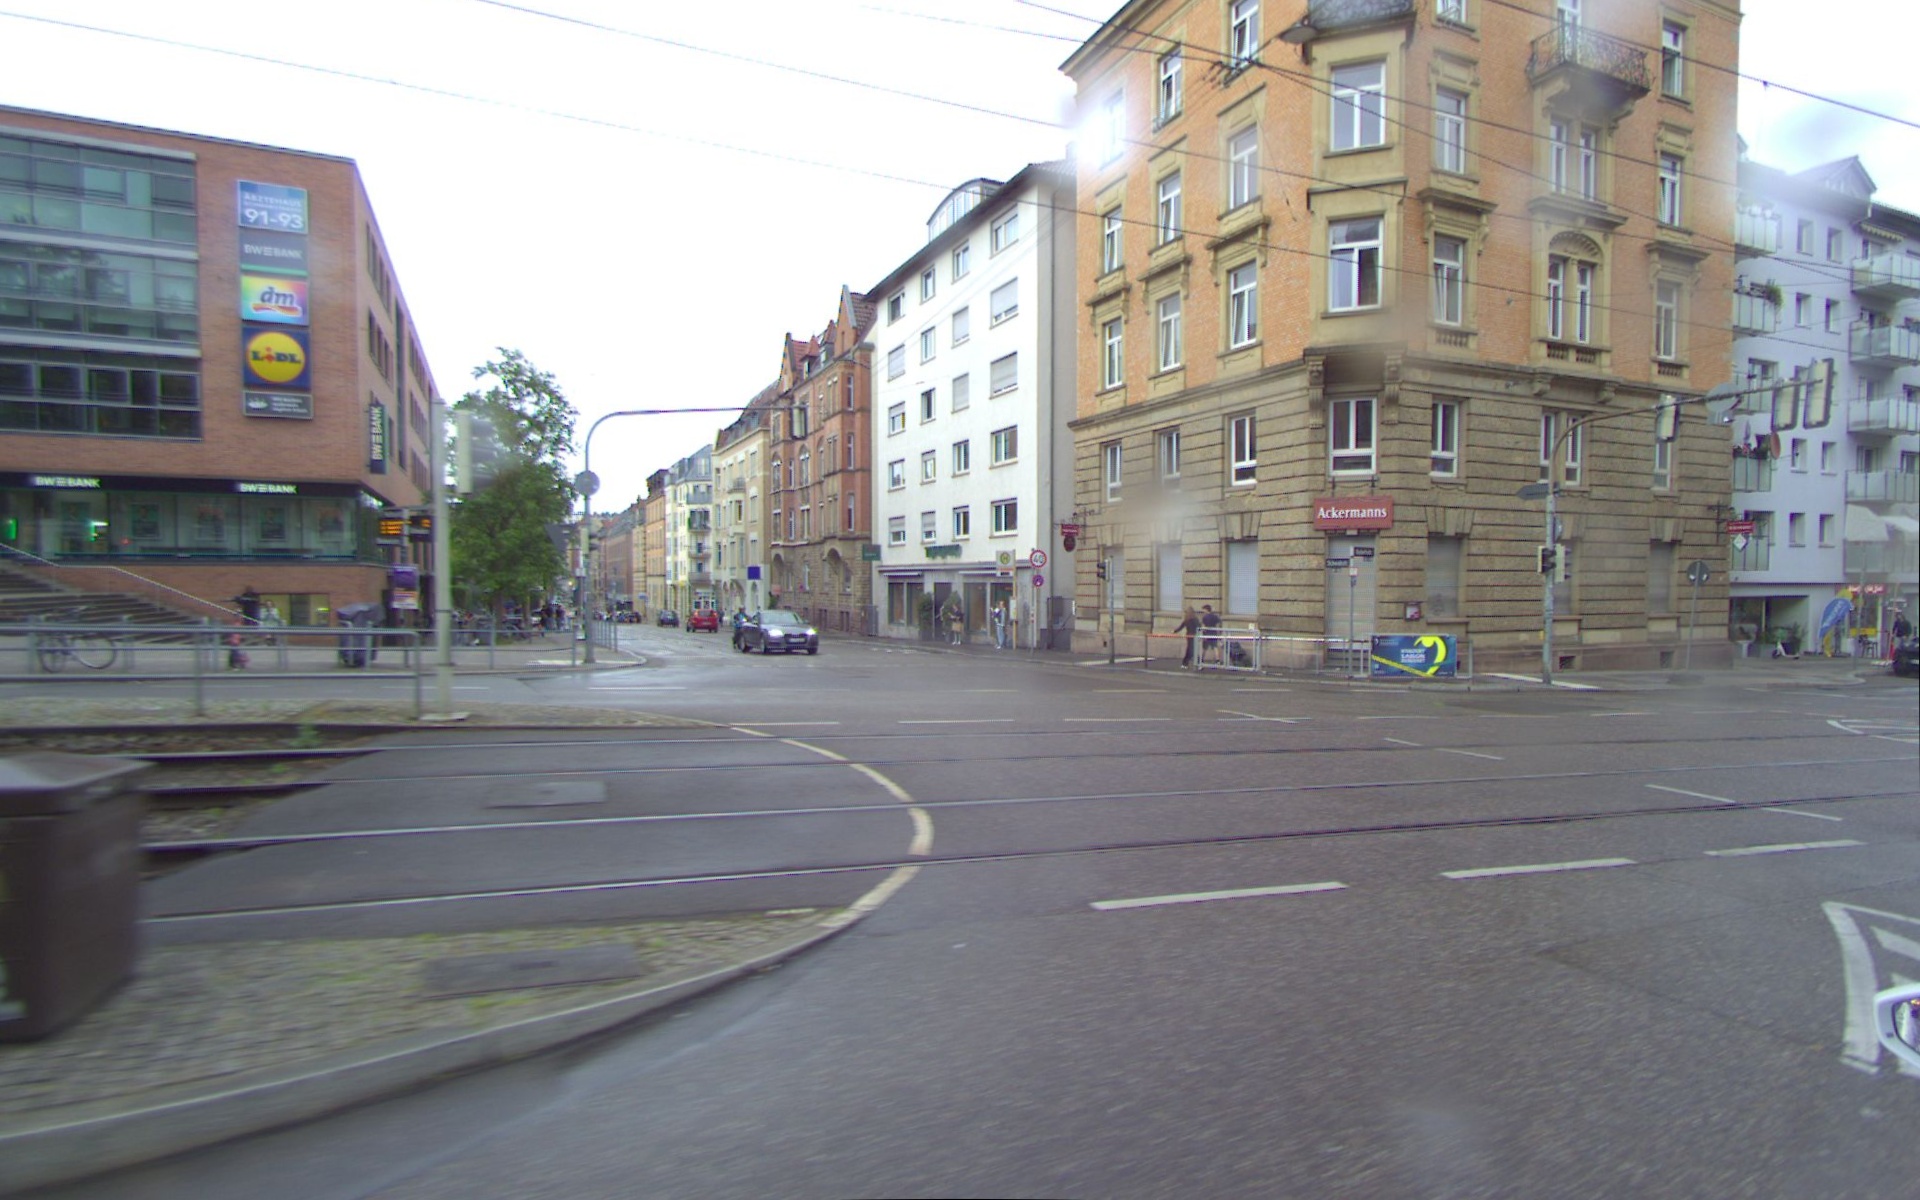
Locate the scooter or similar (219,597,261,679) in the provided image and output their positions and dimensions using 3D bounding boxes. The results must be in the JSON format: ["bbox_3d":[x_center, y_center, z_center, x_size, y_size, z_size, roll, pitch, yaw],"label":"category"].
[{"bbox_3d":[-12.832,0.648,17.896,0.449,1.389,1.488,1,0,-41],"label":"scooter or similar"}]

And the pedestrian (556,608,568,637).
[{"bbox_3d":[-22.897,1.311,57.770,0.591,1.651,0.569,1,0,-26],"label":"pedestrian"}]

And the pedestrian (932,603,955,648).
[{"bbox_3d":[-0.755,1.159,45.653,0.756,2.040,0.862,1,-1,-20],"label":"pedestrian"}]

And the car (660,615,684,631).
[{"bbox_3d":[-26.232,2.088,91.424,1.613,1.309,3.978,1,0,-22],"label":"car"}]

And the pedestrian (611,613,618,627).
[{"bbox_3d":[-47.717,2.781,138.743,0.803,1.861,0.765,1,-1,-26],"label":"pedestrian"}]

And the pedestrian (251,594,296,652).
[{"bbox_3d":[-21.298,0.715,31.186,0.995,1.753,0.893,1,0,-25],"label":"pedestrian"}]

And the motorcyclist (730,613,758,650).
[{"bbox_3d":[-8.075,1.174,37.538,0.830,1.320,0.810,1,0,-24],"label":"motorcyclist"}]

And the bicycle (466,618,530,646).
[{"bbox_3d":[-19.236,1.322,41.866,2.333,1.116,0.848,1,0,-22],"label":"bicycle"}]

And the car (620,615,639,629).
[{"bbox_3d":[-34.422,2.283,104.600,1.613,1.309,3.979,1,0,-22],"label":"car"}]

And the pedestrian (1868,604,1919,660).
[{"bbox_3d":[33.102,1.121,35.548,1.165,1.955,1.165,1,0,-33],"label":"pedestrian"}]

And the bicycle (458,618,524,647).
[{"bbox_3d":[-19.009,1.317,40.707,2.342,1.116,0.693,1,0,-33],"label":"bicycle"}]

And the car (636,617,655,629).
[{"bbox_3d":[-37.457,2.718,119.608,1.615,1.309,3.994,1,0,-26],"label":"car"}]

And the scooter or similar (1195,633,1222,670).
[{"bbox_3d":[6.659,1.377,26.915,0.546,0.957,0.576,0,-1,35],"label":"scooter or similar"}]

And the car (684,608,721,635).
[{"bbox_3d":[-17.158,1.404,66.744,1.615,1.603,3.974,1,1,-26],"label":"car"}]

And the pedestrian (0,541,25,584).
[{"bbox_3d":[-39.815,-1.571,42.187,0.722,1.753,0.641,1,0,-37],"label":"pedestrian"}]

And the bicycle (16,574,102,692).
[{"bbox_3d":[-14.309,0.481,16.001,0.550,1.720,2.079,3,1,-31],"label":"bicycle"}]

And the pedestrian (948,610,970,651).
[{"bbox_3d":[-0.050,1.300,42.539,0.657,1.692,0.829,1,0,-21],"label":"pedestrian"}]

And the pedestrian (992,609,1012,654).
[{"bbox_3d":[1.607,1.199,38.573,0.586,1.690,0.600,1,-1,-15],"label":"pedestrian"}]

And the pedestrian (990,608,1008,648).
[{"bbox_3d":[1.531,1.100,39.490,0.490,1.557,0.529,1,0,-21],"label":"pedestrian"}]

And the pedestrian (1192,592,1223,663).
[{"bbox_3d":[6.623,0.721,26.864,0.617,1.864,0.638,0,-1,33],"label":"pedestrian"}]

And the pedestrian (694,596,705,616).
[{"bbox_3d":[-24.102,0.545,92.851,0.803,1.861,0.765,1,-1,-26],"label":"pedestrian"}]

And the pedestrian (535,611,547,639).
[{"bbox_3d":[-24.345,1.455,58.368,0.565,1.651,0.483,1,0,-24],"label":"pedestrian"}]

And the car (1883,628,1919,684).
[{"bbox_3d":[31.412,1.789,31.827,4.306,1.673,1.727,1,0,-26],"label":"car"}]

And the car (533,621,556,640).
[{"bbox_3d":[-37.600,2.756,90.808,1.793,1.610,3.975,1,-1,-25],"label":"car"}]

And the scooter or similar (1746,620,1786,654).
[{"bbox_3d":[29.818,1.379,37.163,0.313,1.225,1.082,2,-4,-35],"label":"scooter or similar"}]

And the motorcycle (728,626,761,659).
[{"bbox_3d":[-8.019,1.564,37.345,0.854,1.174,1.841,1,0,-23],"label":"motorcycle"}]

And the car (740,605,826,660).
[{"bbox_3d":[-5.926,1.058,33.269,1.817,1.687,3.975,1,-2,-25],"label":"car"}]

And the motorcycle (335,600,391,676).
[{"bbox_3d":[-11.694,0.718,19.682,0.856,1.389,2.637,2,-1,-31],"label":"motorcycle"}]

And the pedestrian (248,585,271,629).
[{"bbox_3d":[-25.335,0.245,36.327,0.584,1.587,0.516,1,0,-27],"label":"pedestrian"}]

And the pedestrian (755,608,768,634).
[{"bbox_3d":[-14.622,1.562,73.958,0.803,1.861,0.765,1,-1,-26],"label":"pedestrian"}]

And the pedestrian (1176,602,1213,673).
[{"bbox_3d":[6.085,0.973,26.069,0.631,1.791,0.624,-3,1,-24],"label":"pedestrian"}]

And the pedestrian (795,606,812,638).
[{"bbox_3d":[-9.075,1.273,58.301,0.803,1.861,0.765,1,-1,-26],"label":"pedestrian"}]

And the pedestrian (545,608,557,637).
[{"bbox_3d":[-23.333,1.292,57.270,0.567,1.651,0.569,1,0,-26],"label":"pedestrian"}]
